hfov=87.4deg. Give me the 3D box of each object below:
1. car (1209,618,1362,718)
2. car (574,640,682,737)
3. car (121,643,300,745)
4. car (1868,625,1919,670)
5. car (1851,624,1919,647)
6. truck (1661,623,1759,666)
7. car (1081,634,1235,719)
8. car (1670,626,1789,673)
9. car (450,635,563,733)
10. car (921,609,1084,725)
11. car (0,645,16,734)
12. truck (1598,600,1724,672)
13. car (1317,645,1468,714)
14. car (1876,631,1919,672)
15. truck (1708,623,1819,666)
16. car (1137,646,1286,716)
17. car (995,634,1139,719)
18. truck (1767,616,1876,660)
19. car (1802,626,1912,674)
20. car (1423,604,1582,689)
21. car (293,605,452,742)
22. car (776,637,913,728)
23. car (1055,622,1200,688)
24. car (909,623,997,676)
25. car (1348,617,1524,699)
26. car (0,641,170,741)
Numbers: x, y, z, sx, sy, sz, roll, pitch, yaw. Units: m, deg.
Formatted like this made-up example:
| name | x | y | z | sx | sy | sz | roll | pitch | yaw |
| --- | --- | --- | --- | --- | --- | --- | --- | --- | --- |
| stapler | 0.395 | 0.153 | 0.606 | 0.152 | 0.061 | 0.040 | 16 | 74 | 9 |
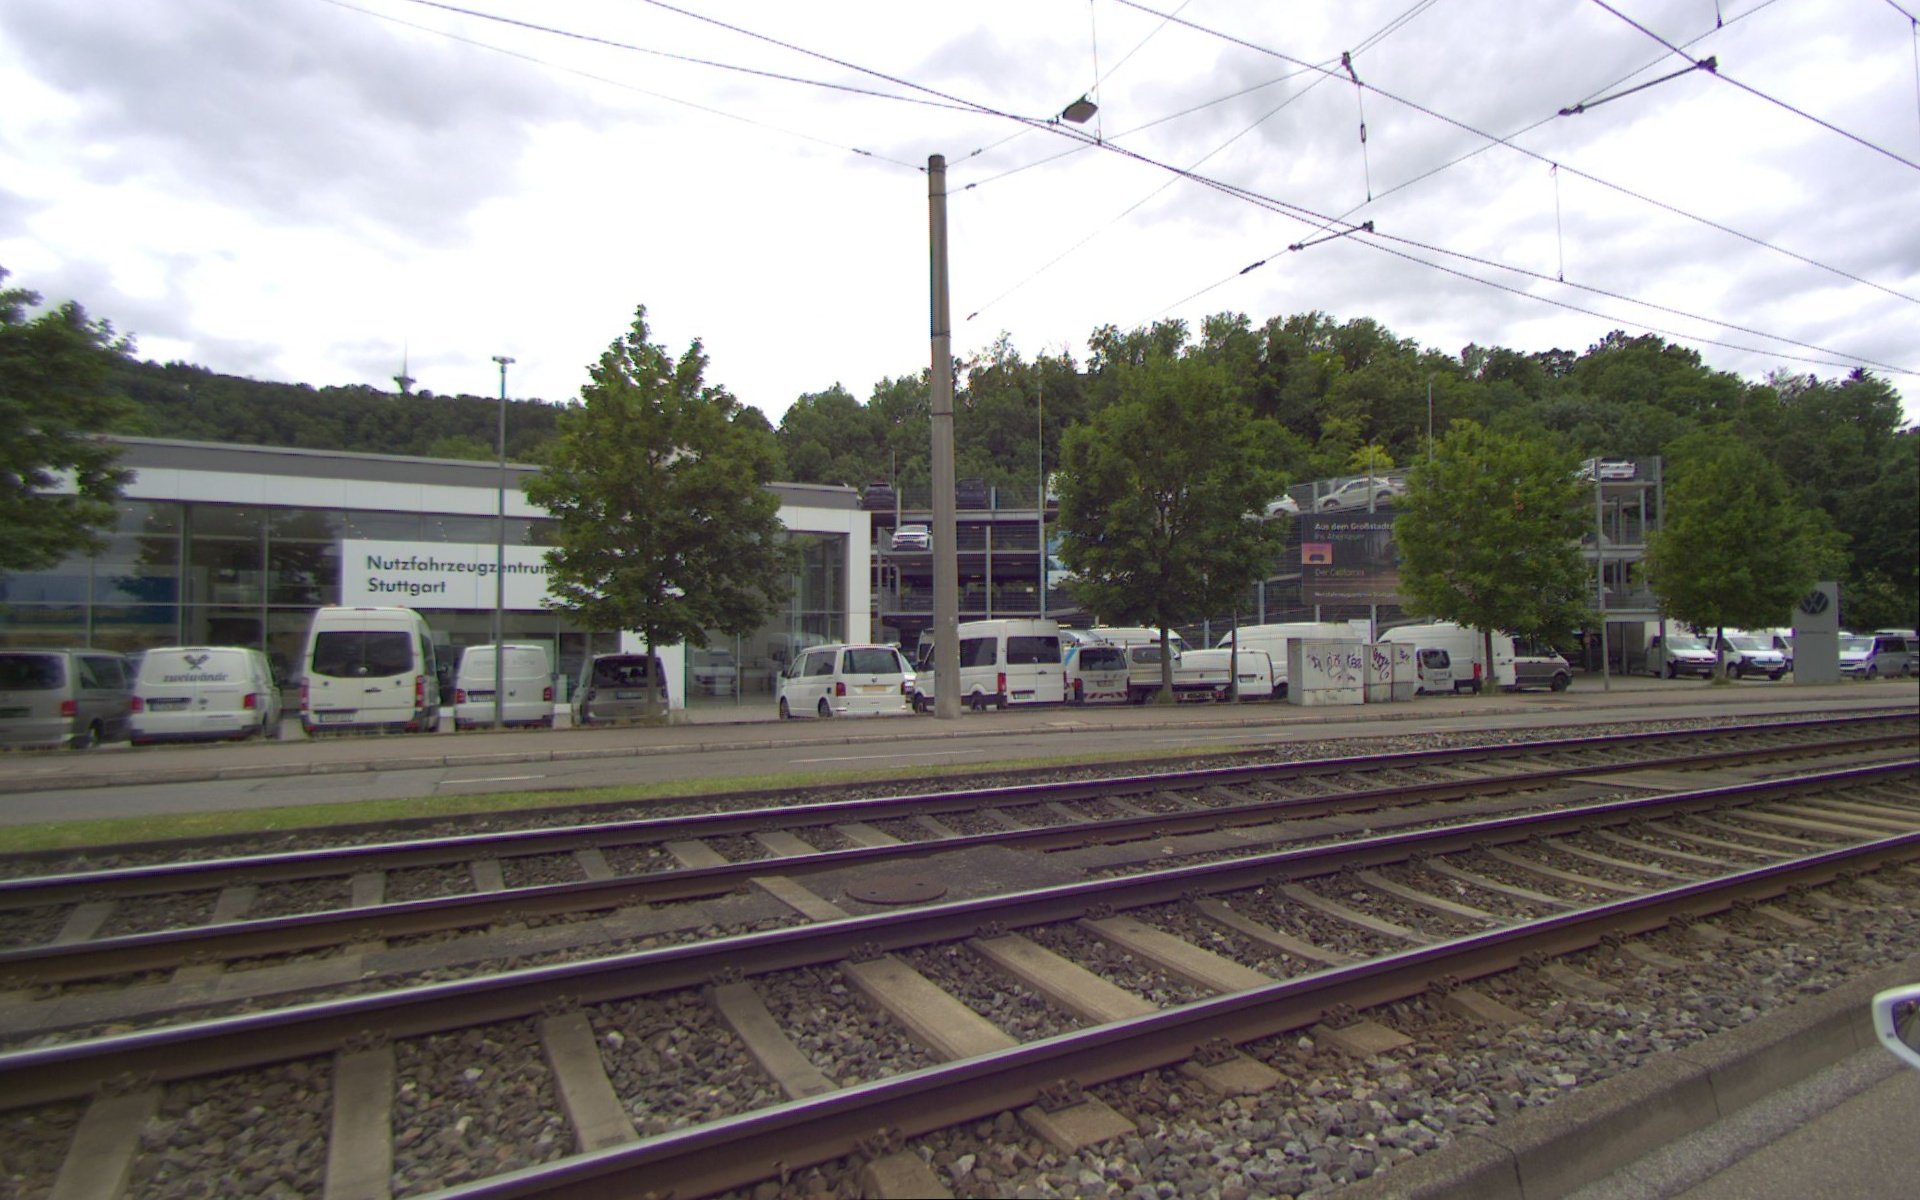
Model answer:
| name | x | y | z | sx | sy | sz | roll | pitch | yaw |
| --- | --- | --- | --- | --- | --- | --- | --- | --- | --- |
| car | 9.955 | 2.046 | 31.034 | 1.979 | 2.856 | 4.349 | 1 | -3 | -28 |
| car | -7.646 | 1.916 | 22.894 | 1.976 | 1.973 | 4.357 | 1 | -3 | -23 |
| car | -14.193 | 1.683 | 19.310 | 2.005 | 1.711 | 4.350 | 1 | -3 | -27 |
| car | 45.580 | 2.230 | 47.638 | 5.062 | 2.040 | 1.987 | 1 | -3 | -26 |
| car | 84.142 | 3.233 | 91.298 | 4.314 | 2.040 | 2.002 | 0 | -2 | 7 |
| truck | 47.692 | 2.849 | 64.023 | 2.419 | 2.621 | 5.074 | 0 | -3 | 1 |
| car | 5.486 | 2.095 | 28.410 | 1.979 | 2.201 | 4.349 | 1 | -3 | -28 |
| car | 35.283 | 2.260 | 46.227 | 1.960 | 2.040 | 4.734 | 0 | -3 | 3 |
| car | -9.644 | 1.708 | 21.557 | 1.976 | 1.869 | 4.357 | 1 | -3 | -23 |
| car | 0.978 | 1.697 | 26.319 | 2.089 | 2.734 | 4.947 | 1 | -3 | -28 |
| car | -18.709 | 1.645 | 17.417 | 1.976 | 1.708 | 4.357 | 1 | -3 | -23 |
| truck | 32.442 | 1.708 | 46.759 | 2.077 | 3.125 | 5.943 | 0 | -3 | 5 |
| car | 14.274 | 2.568 | 33.413 | 1.979 | 2.133 | 4.349 | 1 | -3 | -28 |
| car | 49.374 | 2.548 | 50.092 | 4.982 | 2.040 | 2.163 | -2 | -3 | 29 |
| truck | 50.758 | 2.833 | 63.670 | 2.419 | 2.621 | 5.781 | 0 | -3 | 1 |
| car | 7.513 | 2.363 | 30.451 | 1.979 | 1.935 | 4.349 | 1 | -3 | -28 |
| car | 2.914 | 2.076 | 28.337 | 1.979 | 2.201 | 4.349 | 1 | -3 | -28 |
| truck | 53.551 | 2.386 | 62.605 | 2.419 | 2.621 | 5.074 | 0 | -3 | 1 |
| car | 40.198 | 2.218 | 44.996 | 4.855 | 2.040 | 1.987 | 1 | -3 | -27 |
| car | 20.678 | 1.767 | 38.254 | 5.851 | 3.059 | 2.104 | 1 | -3 | -23 |
| car | -11.360 | 1.369 | 19.762 | 2.095 | 2.341 | 4.487 | 1 | -3 | -23 |
| car | -2.967 | 1.960 | 25.020 | 1.979 | 2.037 | 4.349 | 1 | -3 | -28 |
| car | 7.058 | 2.309 | 42.838 | 5.858 | 2.636 | 1.997 | -2 | -3 | 37 |
| car | -0.363 | 2.043 | 41.229 | 1.971 | 2.040 | 4.835 | 1 | -3 | -22 |
| car | 16.467 | 1.986 | 35.131 | 2.215 | 2.636 | 5.460 | 1 | -3 | -24 |
| car | -16.533 | 1.588 | 18.528 | 1.976 | 1.639 | 4.357 | 1 | -3 | -23 |
